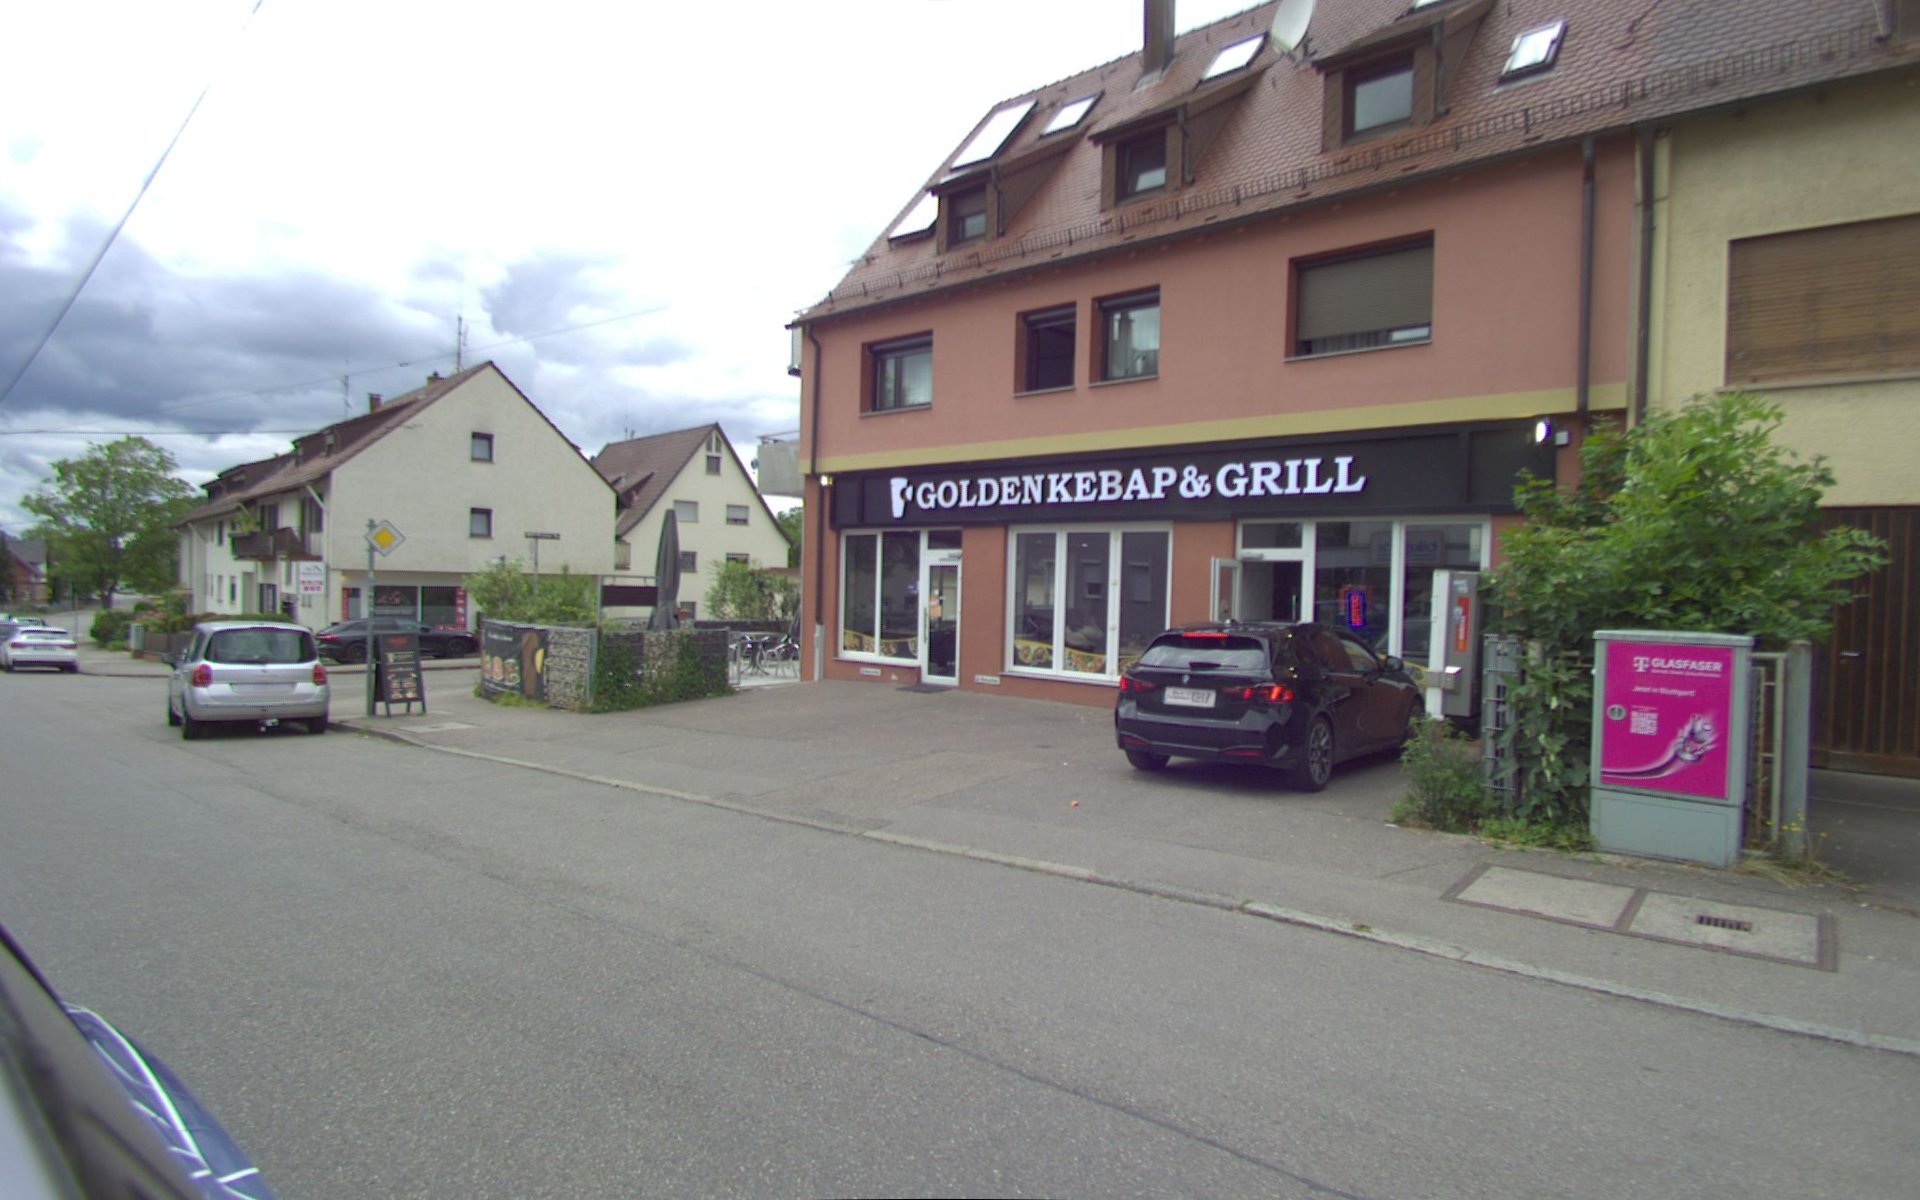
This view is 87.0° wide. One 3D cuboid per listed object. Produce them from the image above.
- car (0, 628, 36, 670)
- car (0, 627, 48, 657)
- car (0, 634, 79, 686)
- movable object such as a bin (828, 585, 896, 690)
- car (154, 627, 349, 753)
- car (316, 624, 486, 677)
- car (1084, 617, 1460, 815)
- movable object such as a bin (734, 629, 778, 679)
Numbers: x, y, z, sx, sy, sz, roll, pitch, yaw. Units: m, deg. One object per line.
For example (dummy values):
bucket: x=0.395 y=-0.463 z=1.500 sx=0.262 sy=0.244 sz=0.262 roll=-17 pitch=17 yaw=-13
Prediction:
car: x=-40.877 y=2.069 z=43.247 sx=1.825 sy=1.693 sz=4.790 roll=5 pitch=-5 yaw=-44
car: x=-56.892 y=2.551 z=61.494 sx=1.826 sy=1.727 sz=4.584 roll=3 pitch=-2 yaw=-39
car: x=-29.108 y=1.862 z=31.799 sx=3.899 sy=1.469 sz=1.707 roll=-1 pitch=-5 yaw=44
movable object such as a bin: x=-2.432 y=0.896 z=24.898 sx=1.262 sy=2.476 sz=1.643 roll=0 pitch=-1 yaw=-20
car: x=-10.507 y=1.241 z=14.885 sx=1.811 sy=1.590 sz=4.036 roll=5 pitch=-5 yaw=-42
car: x=-18.114 y=1.591 z=32.924 sx=4.465 sy=1.483 sz=2.002 roll=-1 pitch=-1 yaw=-44
car: x=3.255 y=0.959 z=10.013 sx=2.000 sy=1.483 sz=4.184 roll=0 pitch=-1 yaw=42
movable object such as a bin: x=-4.773 y=1.256 z=23.689 sx=0.564 sy=1.118 sz=0.977 roll=1 pitch=-2 yaw=-45
